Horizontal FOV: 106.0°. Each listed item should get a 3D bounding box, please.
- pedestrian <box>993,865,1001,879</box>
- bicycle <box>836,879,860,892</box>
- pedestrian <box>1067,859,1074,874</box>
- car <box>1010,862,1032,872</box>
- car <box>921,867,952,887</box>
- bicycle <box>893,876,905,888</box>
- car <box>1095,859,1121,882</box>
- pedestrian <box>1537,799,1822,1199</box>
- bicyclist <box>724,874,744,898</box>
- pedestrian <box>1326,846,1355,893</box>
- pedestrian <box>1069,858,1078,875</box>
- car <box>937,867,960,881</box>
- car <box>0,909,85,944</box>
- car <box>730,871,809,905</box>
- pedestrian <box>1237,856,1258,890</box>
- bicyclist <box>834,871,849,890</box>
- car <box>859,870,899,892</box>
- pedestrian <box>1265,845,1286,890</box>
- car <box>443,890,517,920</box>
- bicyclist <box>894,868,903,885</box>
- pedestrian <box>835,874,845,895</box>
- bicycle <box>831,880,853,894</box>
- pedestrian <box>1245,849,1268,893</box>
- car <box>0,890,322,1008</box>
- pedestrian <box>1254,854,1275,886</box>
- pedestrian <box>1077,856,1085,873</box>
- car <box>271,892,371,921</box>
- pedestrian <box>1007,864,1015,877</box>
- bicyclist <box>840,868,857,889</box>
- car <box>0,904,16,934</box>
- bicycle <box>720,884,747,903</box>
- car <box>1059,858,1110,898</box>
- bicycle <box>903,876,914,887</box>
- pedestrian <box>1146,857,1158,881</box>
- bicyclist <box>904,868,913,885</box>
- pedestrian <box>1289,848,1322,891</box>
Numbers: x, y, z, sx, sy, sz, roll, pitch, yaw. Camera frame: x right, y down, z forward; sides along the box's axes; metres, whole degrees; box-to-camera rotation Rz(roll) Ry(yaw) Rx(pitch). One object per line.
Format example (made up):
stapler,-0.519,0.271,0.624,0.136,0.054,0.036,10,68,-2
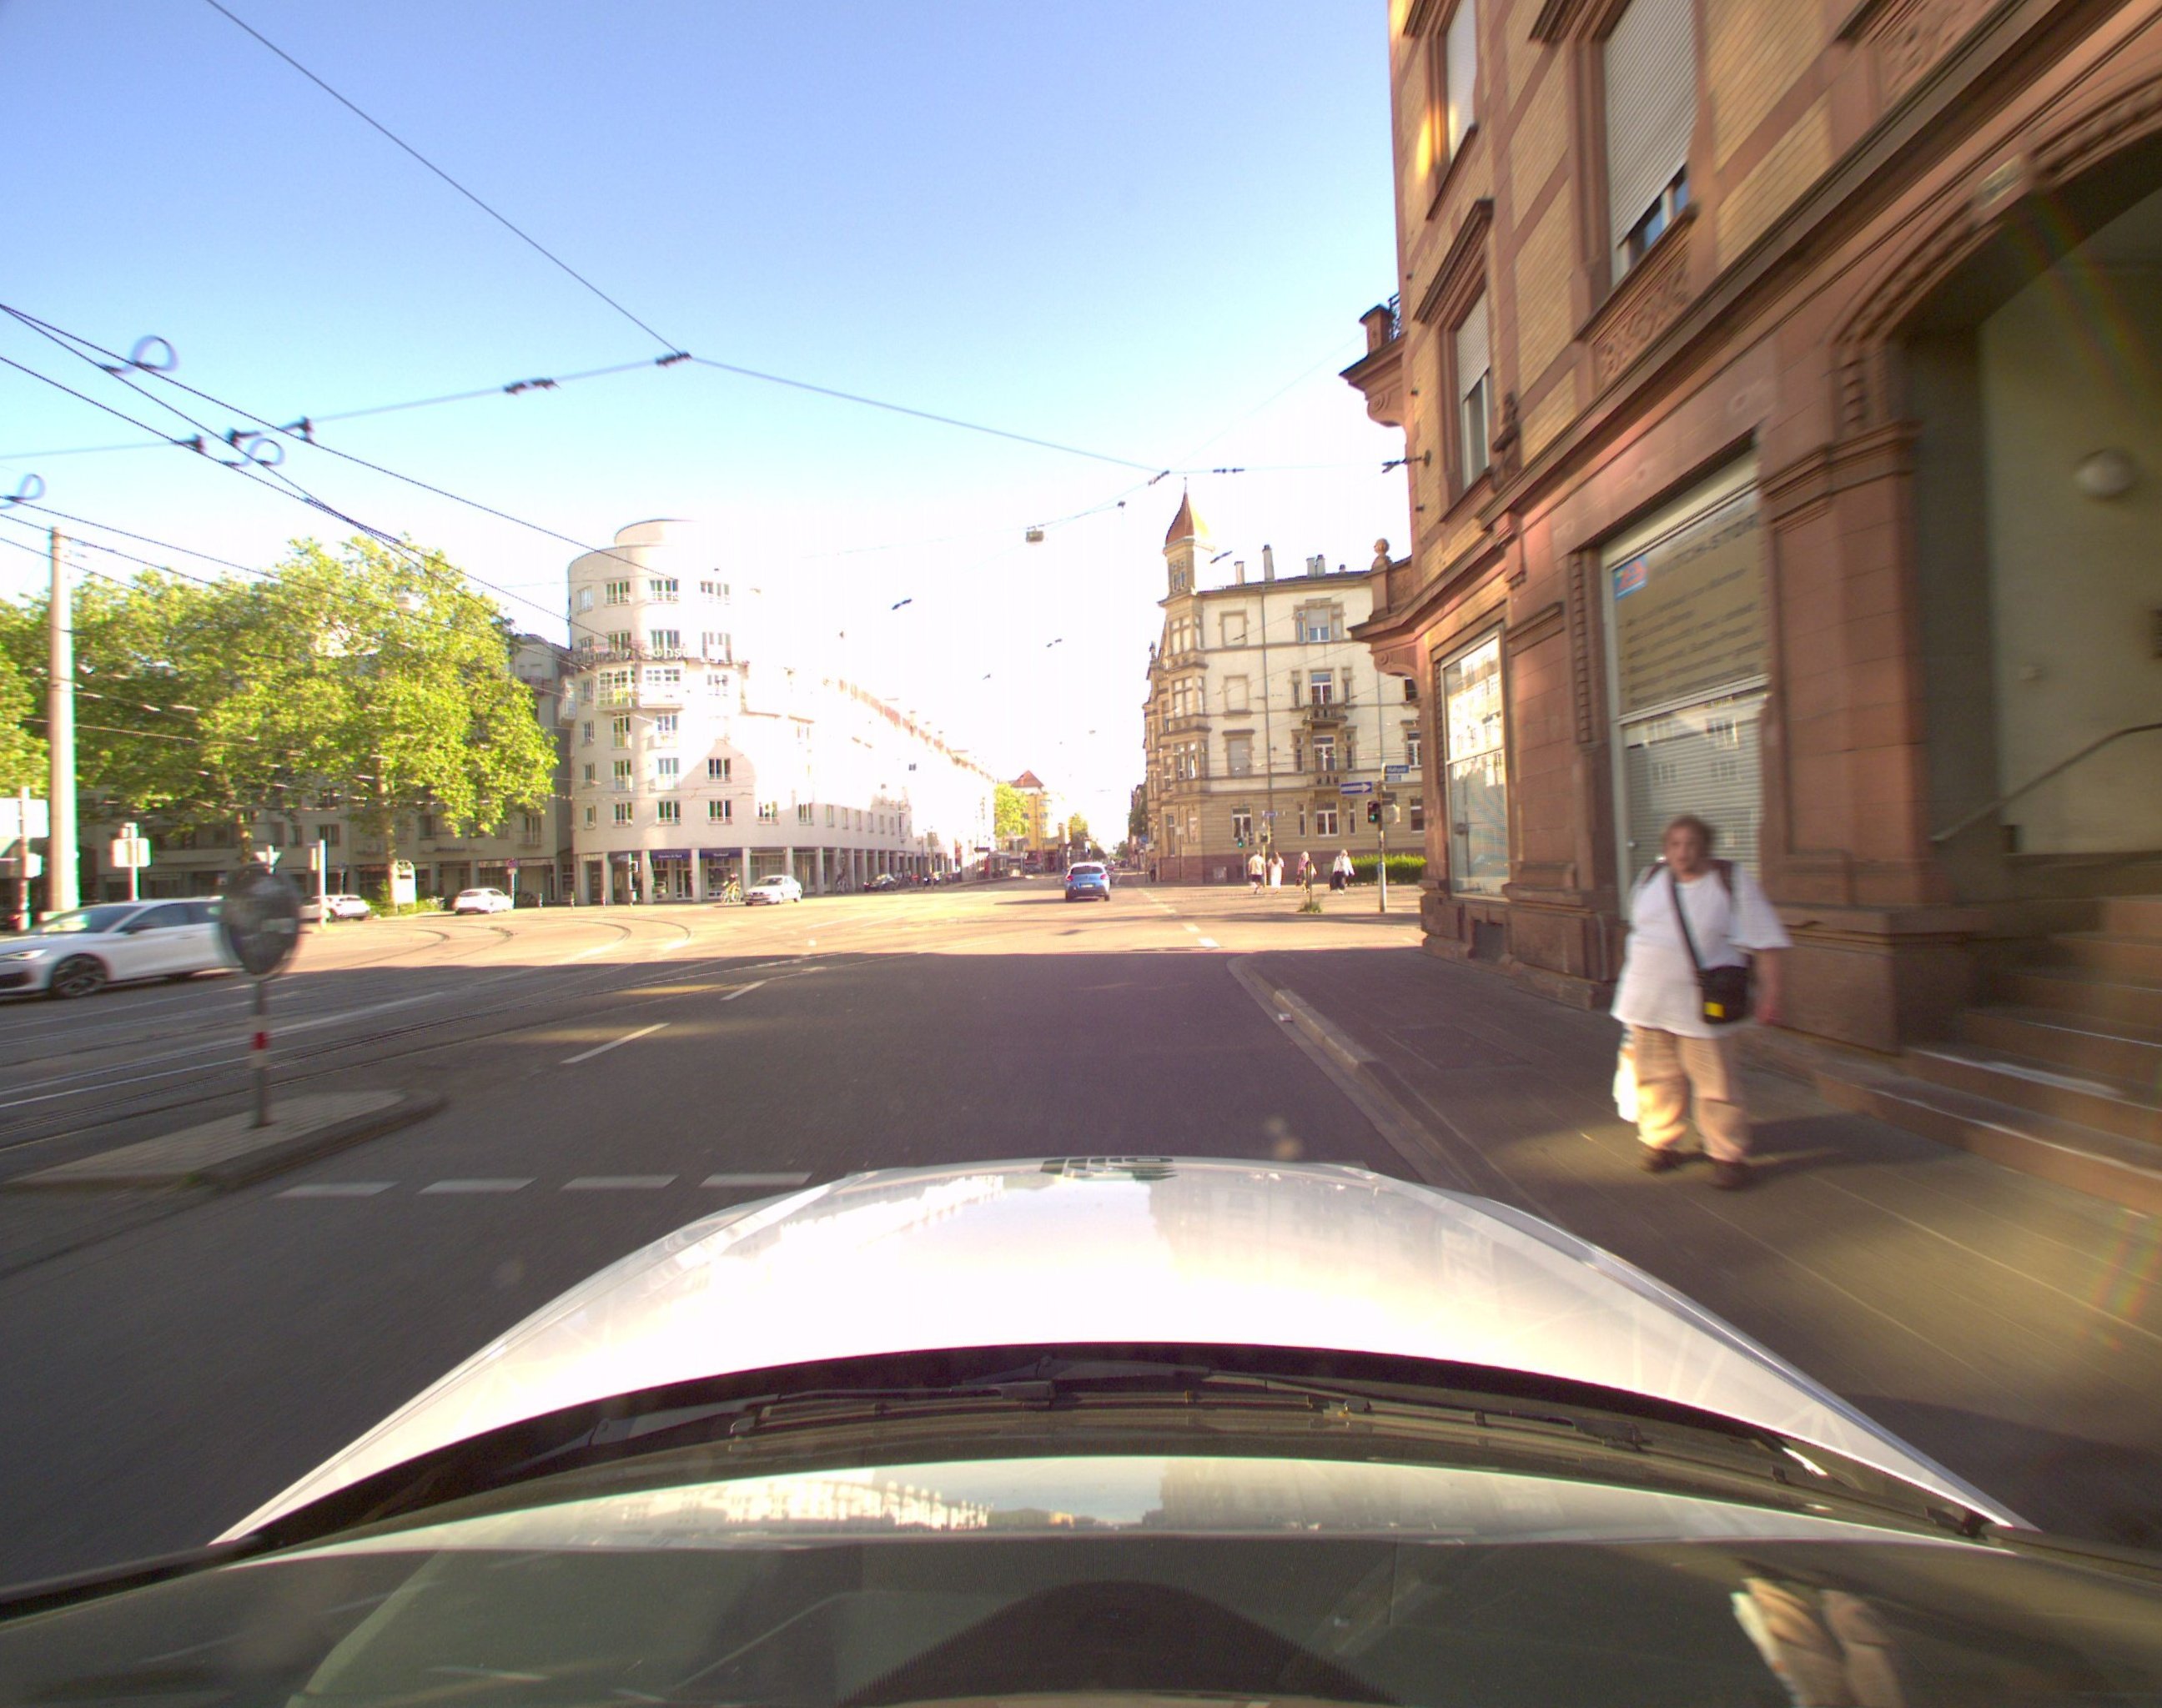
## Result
pedestrian,-9.226,1.989,89.309,0.728,1.527,0.743,-1,0,2
bicycle,-18.469,2.491,64.559,0.669,0.980,1.773,-2,-1,30
pedestrian,-1.118,1.343,85.883,0.579,1.562,0.472,-3,-1,38
car,-11.222,2.452,152.865,3.975,1.674,1.957,-2,-1,-1
car,-14.801,2.379,83.652,2.218,1.911,4.611,-2,-1,2
bicycle,-16.379,2.517,73.346,0.592,0.972,2.012,-2,-2,1
car,2.148,1.334,63.812,1.985,1.743,4.003,0,-2,3
pedestrian,2.690,0.587,3.731,0.681,1.607,0.728,-2,-1,-12
bicyclist,-19.147,1.768,44.944,0.586,1.285,0.927,-2,-2,3
pedestrian,9.505,0.566,29.802,0.915,1.632,1.014,-3,-2,18
pedestrian,-0.817,1.305,86.371,0.710,1.777,0.569,-3,-1,38
car,-14.927,2.217,91.863,1.722,1.515,4.406,-2,-1,2
car,-66.598,4.611,51.662,1.811,1.882,4.000,-2,-1,1
car,-15.494,1.663,40.790,1.986,1.451,4.651,-2,-1,1
pedestrian,8.054,0.918,39.316,0.916,1.632,0.945,-3,-2,11
bicyclist,-17.048,1.880,57.981,0.584,1.285,0.995,-3,-2,12
car,-15.891,2.111,64.228,1.987,1.596,4.000,-2,-2,1
pedestrian,7.552,0.539,31.655,0.637,1.745,0.709,-1,-2,24
car,-34.968,2.942,47.494,1.798,1.403,4.087,-2,1,-11
bicyclist,-16.395,2.016,73.192,0.586,1.488,0.928,-2,-2,1
pedestrian,-18.057,2.284,61.019,0.444,1.534,0.676,-2,1,-34
bicycle,-17.017,2.358,57.980,0.590,0.972,1.861,-3,-2,13
pedestrian,6.849,0.659,31.816,0.694,1.655,0.635,-3,-2,25
car,-15.659,1.435,13.408,1.986,1.451,4.503,-2,-1,1
pedestrian,9.048,0.773,40.125,0.626,1.538,0.948,-3,-2,34
pedestrian,-0.005,1.048,81.325,0.632,1.698,0.936,-1,-2,10
car,-41.762,2.867,44.811,3.974,1.403,1.807,-1,1,6
pedestrian,-8.127,1.911,94.542,0.728,1.559,0.743,-1,0,2
bicyclist,-18.469,1.947,64.738,0.715,1.696,1.036,-2,-1,31
car,-71.042,4.267,51.598,1.811,1.882,4.000,-2,-1,1
bicycle,-19.123,2.162,44.892,0.591,0.972,1.819,-2,-2,3
car,0.200,0.905,31.771,1.773,1.451,3.657,0,-1,3
bicycle,-16.302,2.581,77.079,0.592,0.972,2.047,-2,-2,1
pedestrian,5.332,1.108,61.420,0.777,1.749,1.093,-1,1,0
bicyclist,-16.294,2.138,76.998,0.586,1.585,0.896,-2,-2,1
pedestrian,8.876,0.609,32.220,0.913,1.632,0.948,-3,-2,34
